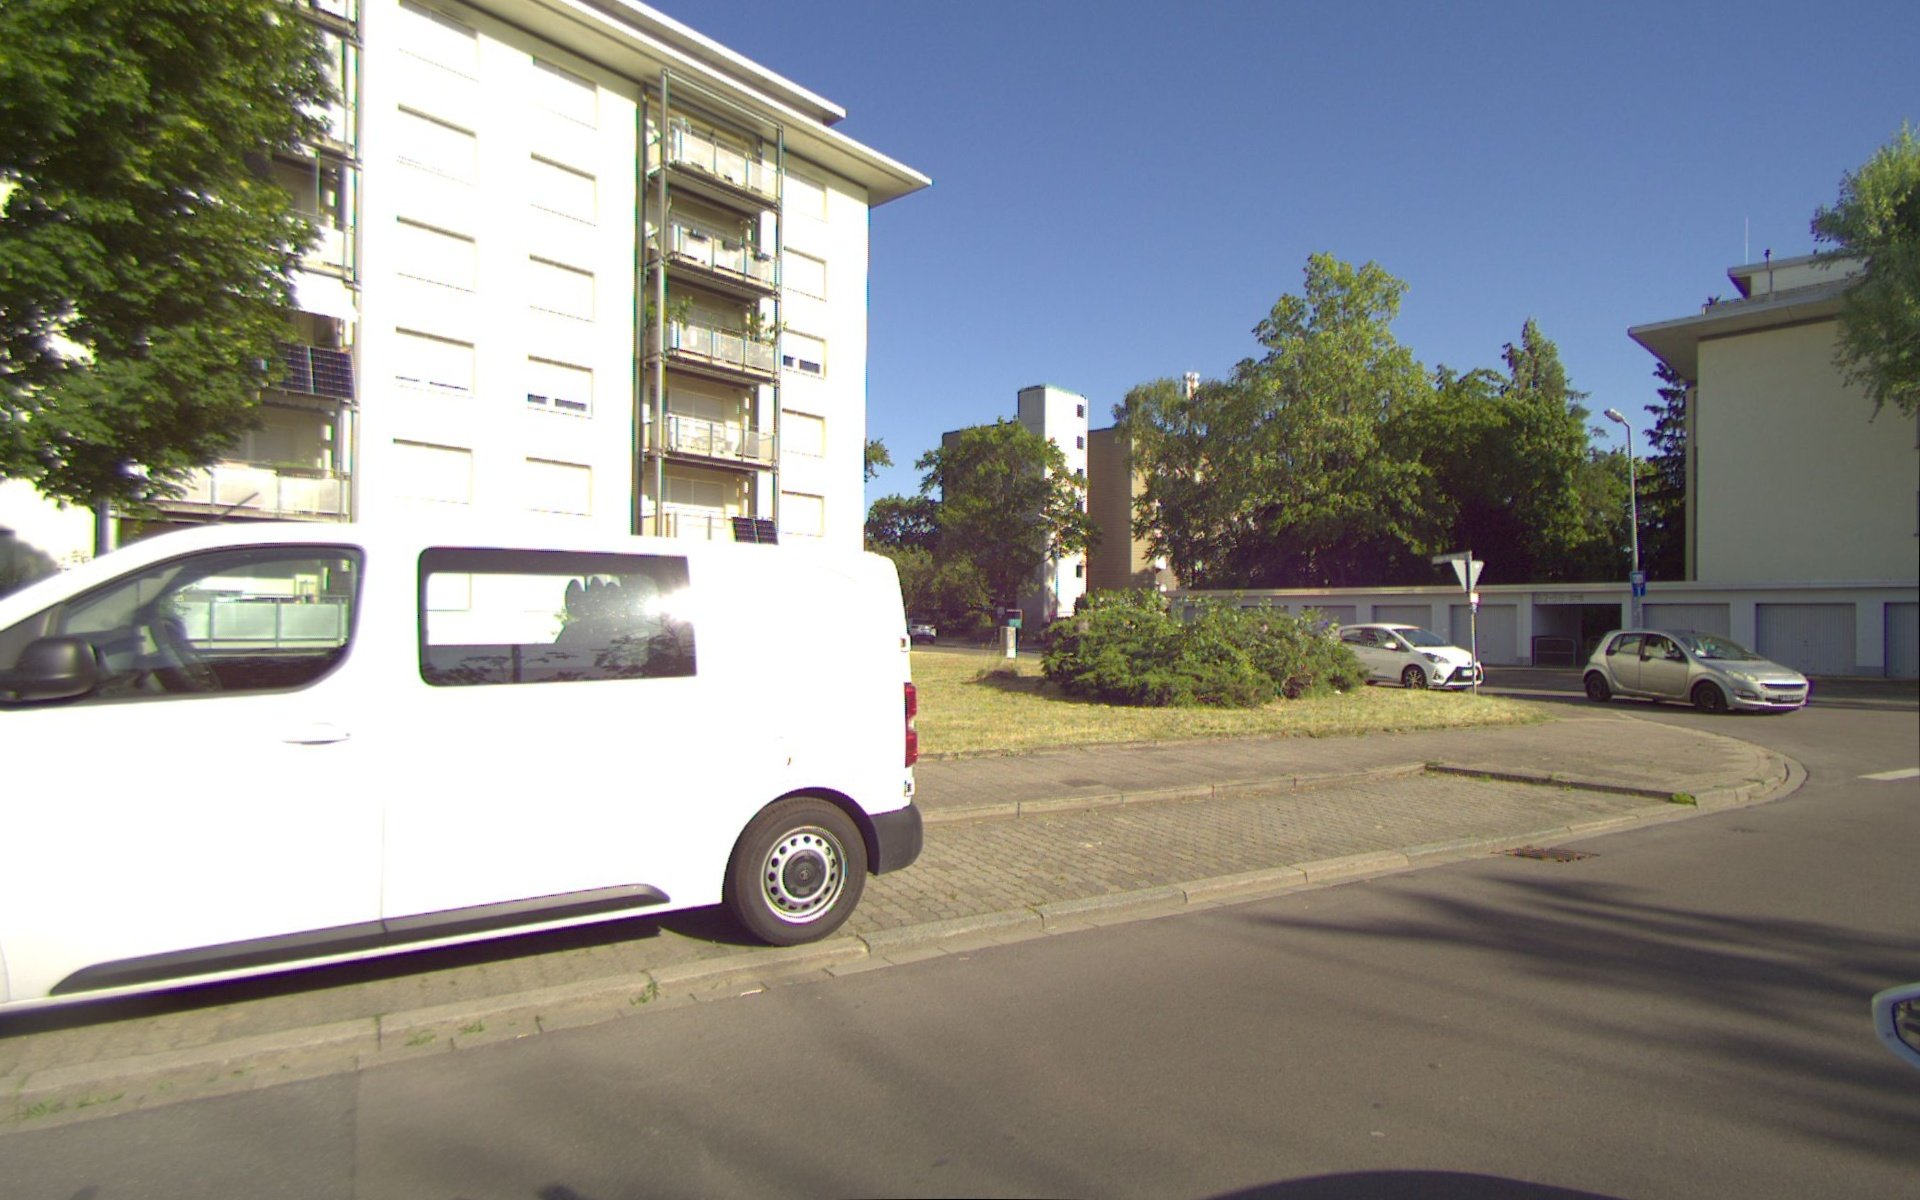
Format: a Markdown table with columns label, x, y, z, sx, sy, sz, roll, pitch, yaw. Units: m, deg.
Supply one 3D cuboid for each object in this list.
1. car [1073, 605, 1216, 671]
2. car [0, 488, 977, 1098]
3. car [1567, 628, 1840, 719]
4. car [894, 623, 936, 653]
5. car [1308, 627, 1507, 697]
| label | x | y | z | sx | sy | sz | roll | pitch | yaw |
| --- | --- | --- | --- | --- | --- | --- | --- | --- | --- |
| car | 5.956 | 1.211 | 33.203 | 2.206 | 1.977 | 5.093 | 1 | -1 | -23 |
| car | -2.634 | 0.621 | 4.531 | 5.131 | 1.911 | 2.004 | 2 | 0 | -31 |
| car | 13.812 | 1.305 | 18.987 | 1.961 | 1.480 | 3.936 | 1 | -1 | -8 |
| car | -3.030 | 2.493 | 66.705 | 1.824 | 1.901 | 3.985 | 1 | -1 | -17 |
| car | 10.392 | 1.398 | 23.648 | 2.014 | 1.483 | 3.978 | 1 | -2 | -24 |
